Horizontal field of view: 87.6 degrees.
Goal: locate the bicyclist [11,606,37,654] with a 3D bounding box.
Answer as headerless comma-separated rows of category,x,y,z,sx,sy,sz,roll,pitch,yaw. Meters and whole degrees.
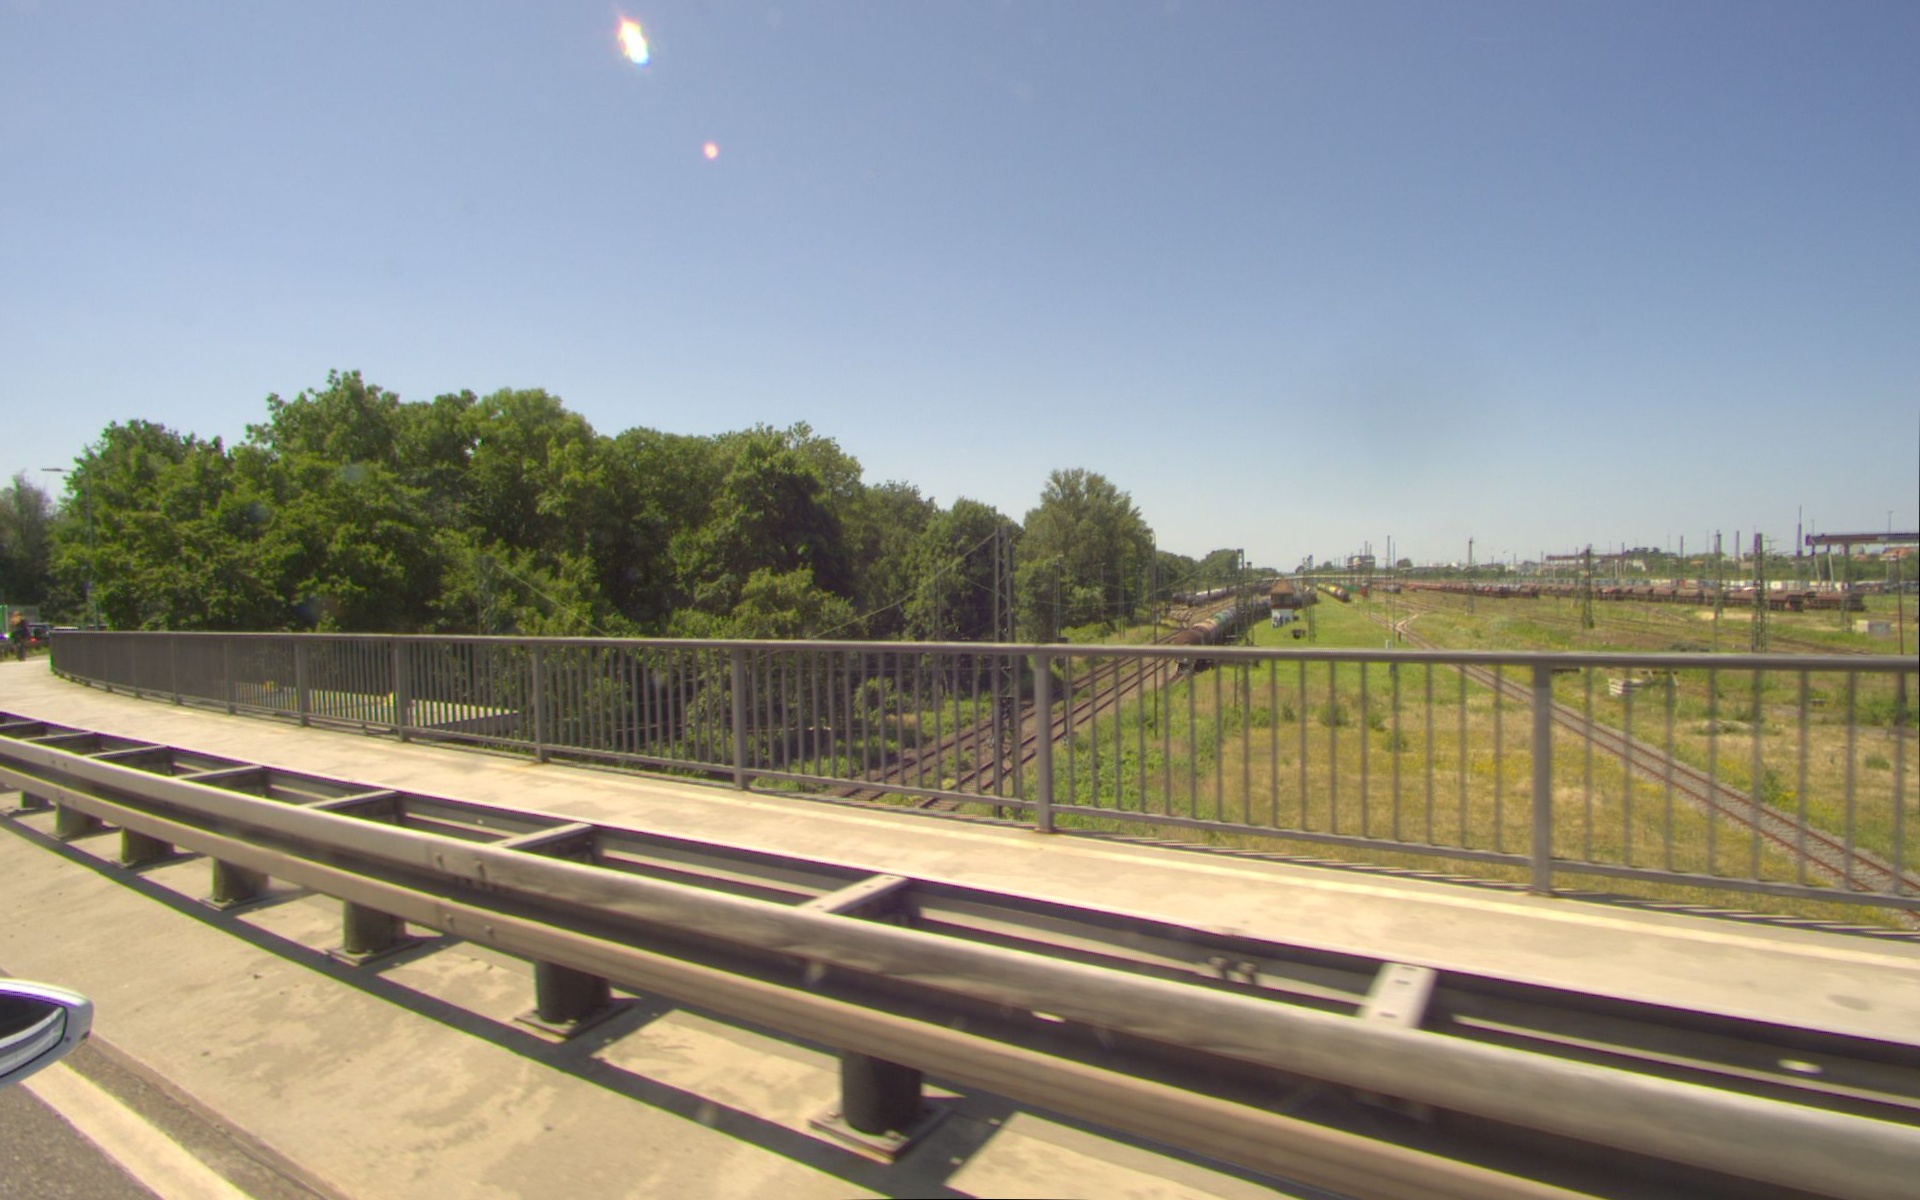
bicyclist,-33.630,1.070,35.977,0.722,1.706,0.574,0,3,45

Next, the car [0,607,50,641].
car,-52.124,1.340,55.529,1.667,1.783,3.979,0,-2,-31

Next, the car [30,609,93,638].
car,-55.382,1.493,61.799,1.971,1.594,3.984,2,-4,-28

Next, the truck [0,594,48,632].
truck,-75.396,1.016,79.525,5.844,2.911,2.334,0,0,26

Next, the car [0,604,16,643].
car,-48.305,1.156,49.576,1.705,1.868,3.972,0,-1,-36

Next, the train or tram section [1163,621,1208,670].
train or tram section,24.652,4.795,108.986,3.782,4.366,13.606,-2,1,16

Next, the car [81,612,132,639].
car,-57.894,1.759,67.983,1.665,1.783,3.985,0,-2,-26

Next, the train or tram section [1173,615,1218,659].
train or tram section,28.805,4.394,121.983,3.785,4.366,13.598,-2,1,19

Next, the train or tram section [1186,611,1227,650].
train or tram section,33.294,3.980,134.788,3.785,4.366,13.595,-2,1,20

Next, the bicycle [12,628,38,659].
bicycle,-33.625,1.541,36.006,0.578,1.050,1.470,-4,2,-45
